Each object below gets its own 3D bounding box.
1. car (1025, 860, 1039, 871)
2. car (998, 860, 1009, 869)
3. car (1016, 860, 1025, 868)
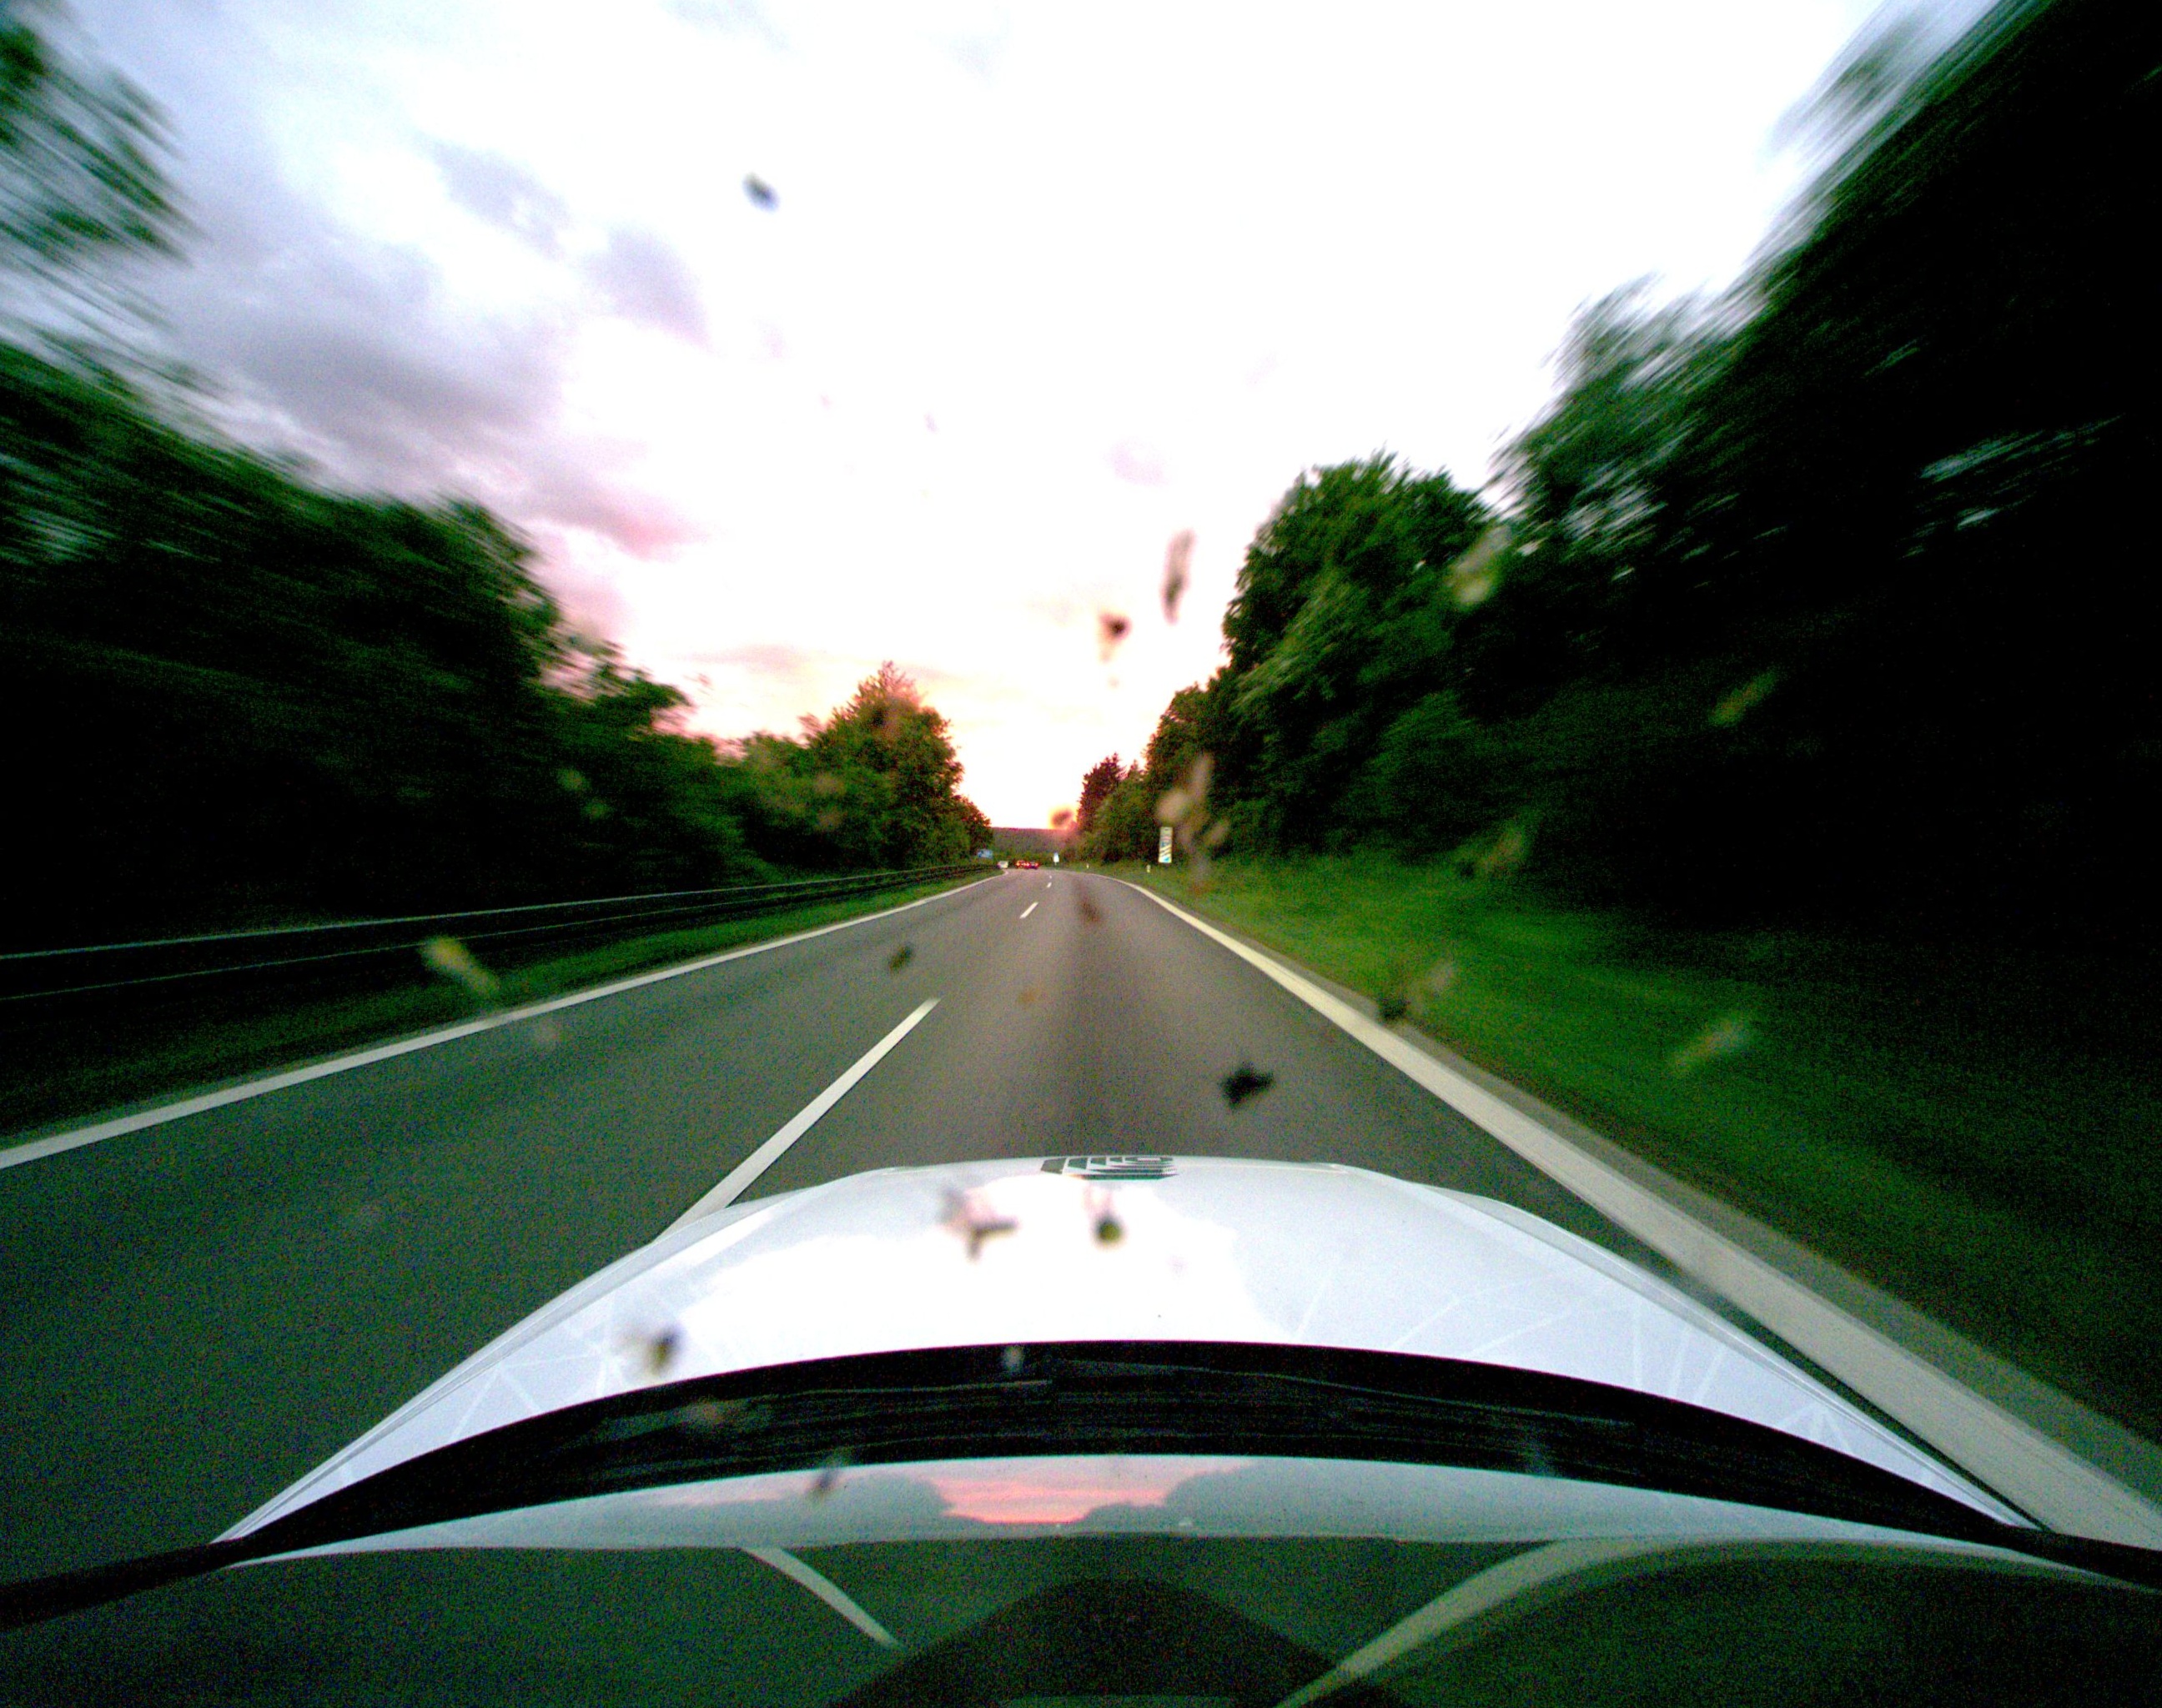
[{"bbox_3d":[-8.601,2.040,142.400,1.992,1.646,3.987,3,-3,-8],"label":"car"},{"bbox_3d":[-14.983,2.042,157.710,1.714,1.501,3.996,1,-2,-2],"label":"car"},{"bbox_3d":[-12.195,1.987,163.434,1.716,1.635,3.991,-1,-1,-6],"label":"car"}]
